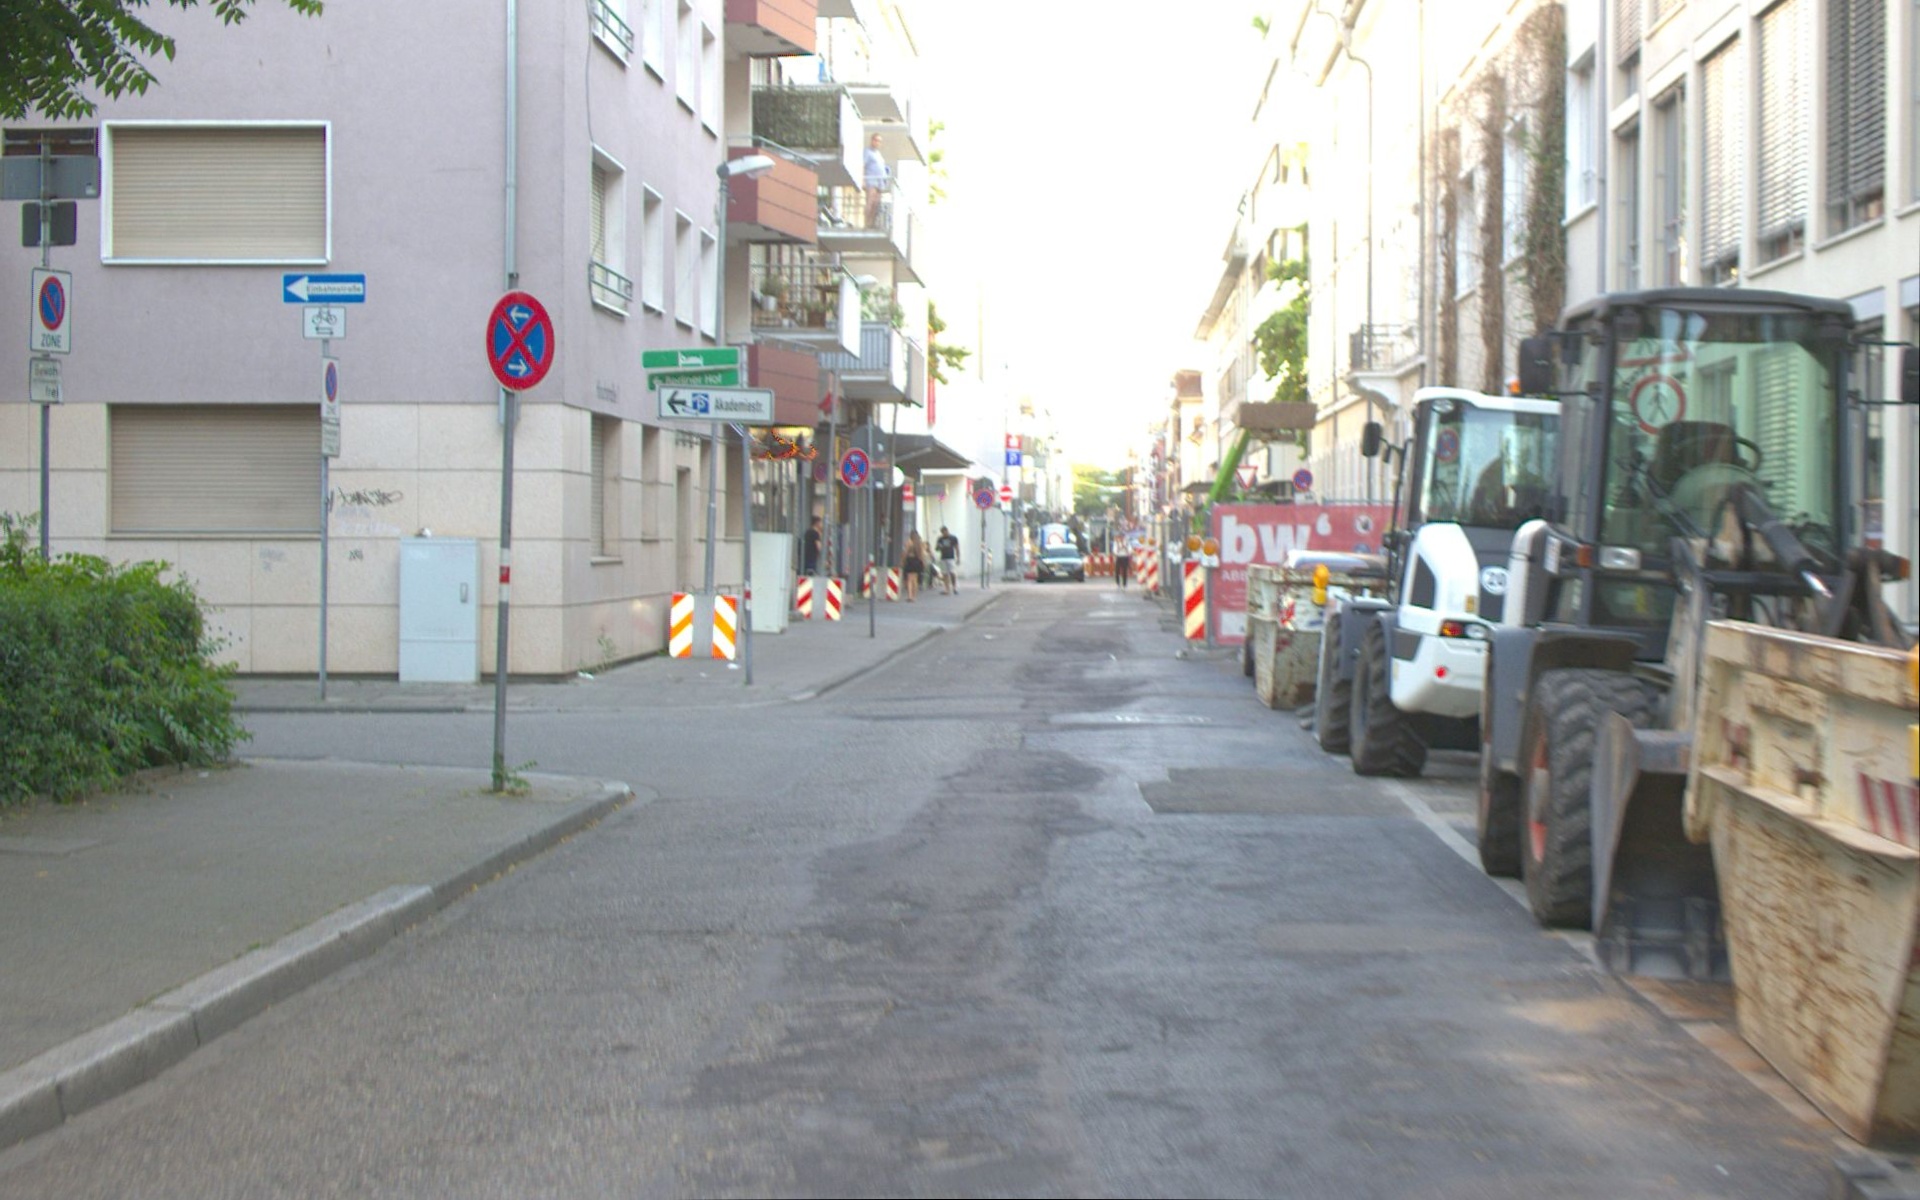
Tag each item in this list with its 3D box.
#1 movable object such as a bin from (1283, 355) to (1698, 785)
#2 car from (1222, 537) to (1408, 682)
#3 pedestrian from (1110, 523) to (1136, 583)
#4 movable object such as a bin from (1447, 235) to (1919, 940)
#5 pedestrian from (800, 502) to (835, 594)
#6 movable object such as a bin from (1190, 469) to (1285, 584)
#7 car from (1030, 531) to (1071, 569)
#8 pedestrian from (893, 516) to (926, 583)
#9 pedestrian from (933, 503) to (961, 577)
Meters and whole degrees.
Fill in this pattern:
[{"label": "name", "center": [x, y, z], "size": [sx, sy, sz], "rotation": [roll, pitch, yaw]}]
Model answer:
[{"label": "movable object such as a bin", "center": [3.481, -0.246, 23.660], "size": [2.166, 2.587, 5.543], "rotation": [1, 1, 2]}, {"label": "car", "center": [3.761, 0.054, 37.026], "size": [1.693, 1.401, 4.479], "rotation": [1, 2, 3]}, {"label": "pedestrian", "center": [4.765, -1.382, 100.231], "size": [0.720, 1.734, 0.647], "rotation": [0, 1, 0]}, {"label": "movable object such as a bin", "center": [3.160, -0.097, 14.875], "size": [1.796, 2.625, 4.110], "rotation": [0, 1, 4]}, {"label": "pedestrian", "center": [-2.820, -1.032, 68.092], "size": [0.629, 1.802, 0.647], "rotation": [1, 1, 4]}, {"label": "movable object such as a bin", "center": [7.817, -2.114, 97.236], "size": [2.470, 3.120, 4.297], "rotation": [1, 2, 2]}, {"label": "car", "center": [3.397, -1.879, 128.817], "size": [1.474, 1.393, 3.332], "rotation": [0, 1, 2]}, {"label": "pedestrian", "center": [-1.162, -1.174, 79.613], "size": [0.645, 1.559, 0.631], "rotation": [0, 1, -12]}, {"label": "pedestrian", "center": [-0.331, -1.546, 88.543], "size": [0.654, 1.880, 0.574], "rotation": [1, 1, 6]}]
